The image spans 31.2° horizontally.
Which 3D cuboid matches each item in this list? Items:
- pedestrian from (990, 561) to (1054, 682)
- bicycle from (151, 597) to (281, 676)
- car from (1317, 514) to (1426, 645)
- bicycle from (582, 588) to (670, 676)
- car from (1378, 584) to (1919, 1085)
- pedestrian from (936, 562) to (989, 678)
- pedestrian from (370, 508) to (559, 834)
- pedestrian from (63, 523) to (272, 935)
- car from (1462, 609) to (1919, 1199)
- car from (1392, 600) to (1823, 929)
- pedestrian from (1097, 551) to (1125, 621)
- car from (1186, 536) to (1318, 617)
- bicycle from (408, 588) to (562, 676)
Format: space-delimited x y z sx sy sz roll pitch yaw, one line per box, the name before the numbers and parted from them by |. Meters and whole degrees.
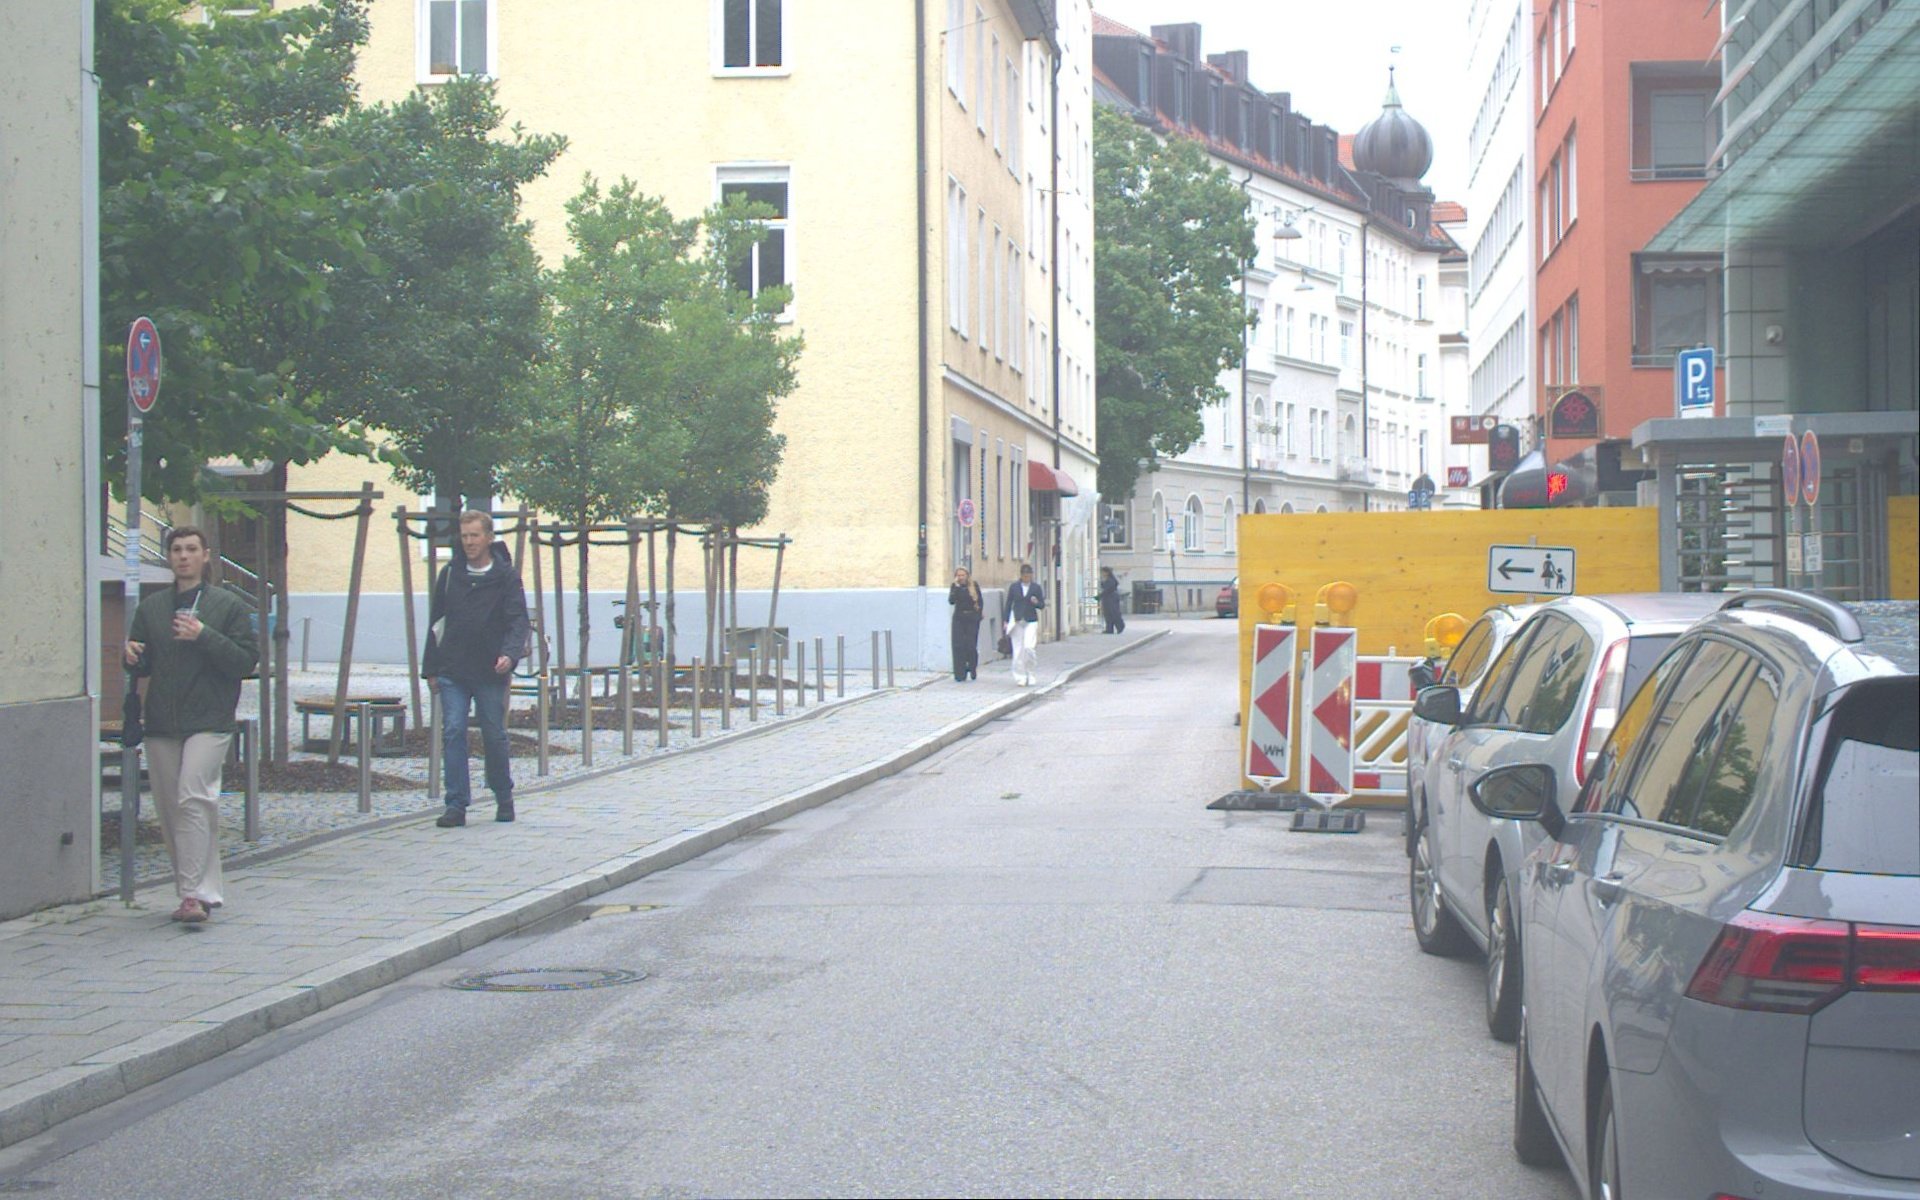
pedestrian | 0.887 0.300 48.979 0.839 1.695 0.803 1 0 5
bicycle | -10.340 0.501 47.792 1.656 1.065 0.597 1 0 10
car | 8.267 -0.416 69.353 1.994 2.528 4.974 1 1 5
bicycle | -4.424 0.411 45.687 0.510 1.141 2.051 1 0 14
car | 2.556 0.700 12.368 1.707 1.462 4.237 1 0 2
pedestrian | 0.038 0.285 49.307 0.670 1.642 0.761 1 0 5
pedestrian | -2.936 0.406 20.478 0.868 1.875 1.134 1 0 5
pedestrian | -3.309 0.523 14.393 0.647 1.671 0.723 1 0 5
car | 2.027 0.746 7.101 1.708 1.427 4.328 0 0 5
car | 3.147 0.724 17.493 1.708 1.409 4.508 1 0 5
pedestrian | 3.625 -0.328 82.349 0.634 1.669 0.517 1 0 5
car | 8.925 -0.703 104.552 1.997 2.390 4.985 1 1 31
bicycle | -6.585 0.436 47.678 2.044 1.193 0.570 1 0 13
